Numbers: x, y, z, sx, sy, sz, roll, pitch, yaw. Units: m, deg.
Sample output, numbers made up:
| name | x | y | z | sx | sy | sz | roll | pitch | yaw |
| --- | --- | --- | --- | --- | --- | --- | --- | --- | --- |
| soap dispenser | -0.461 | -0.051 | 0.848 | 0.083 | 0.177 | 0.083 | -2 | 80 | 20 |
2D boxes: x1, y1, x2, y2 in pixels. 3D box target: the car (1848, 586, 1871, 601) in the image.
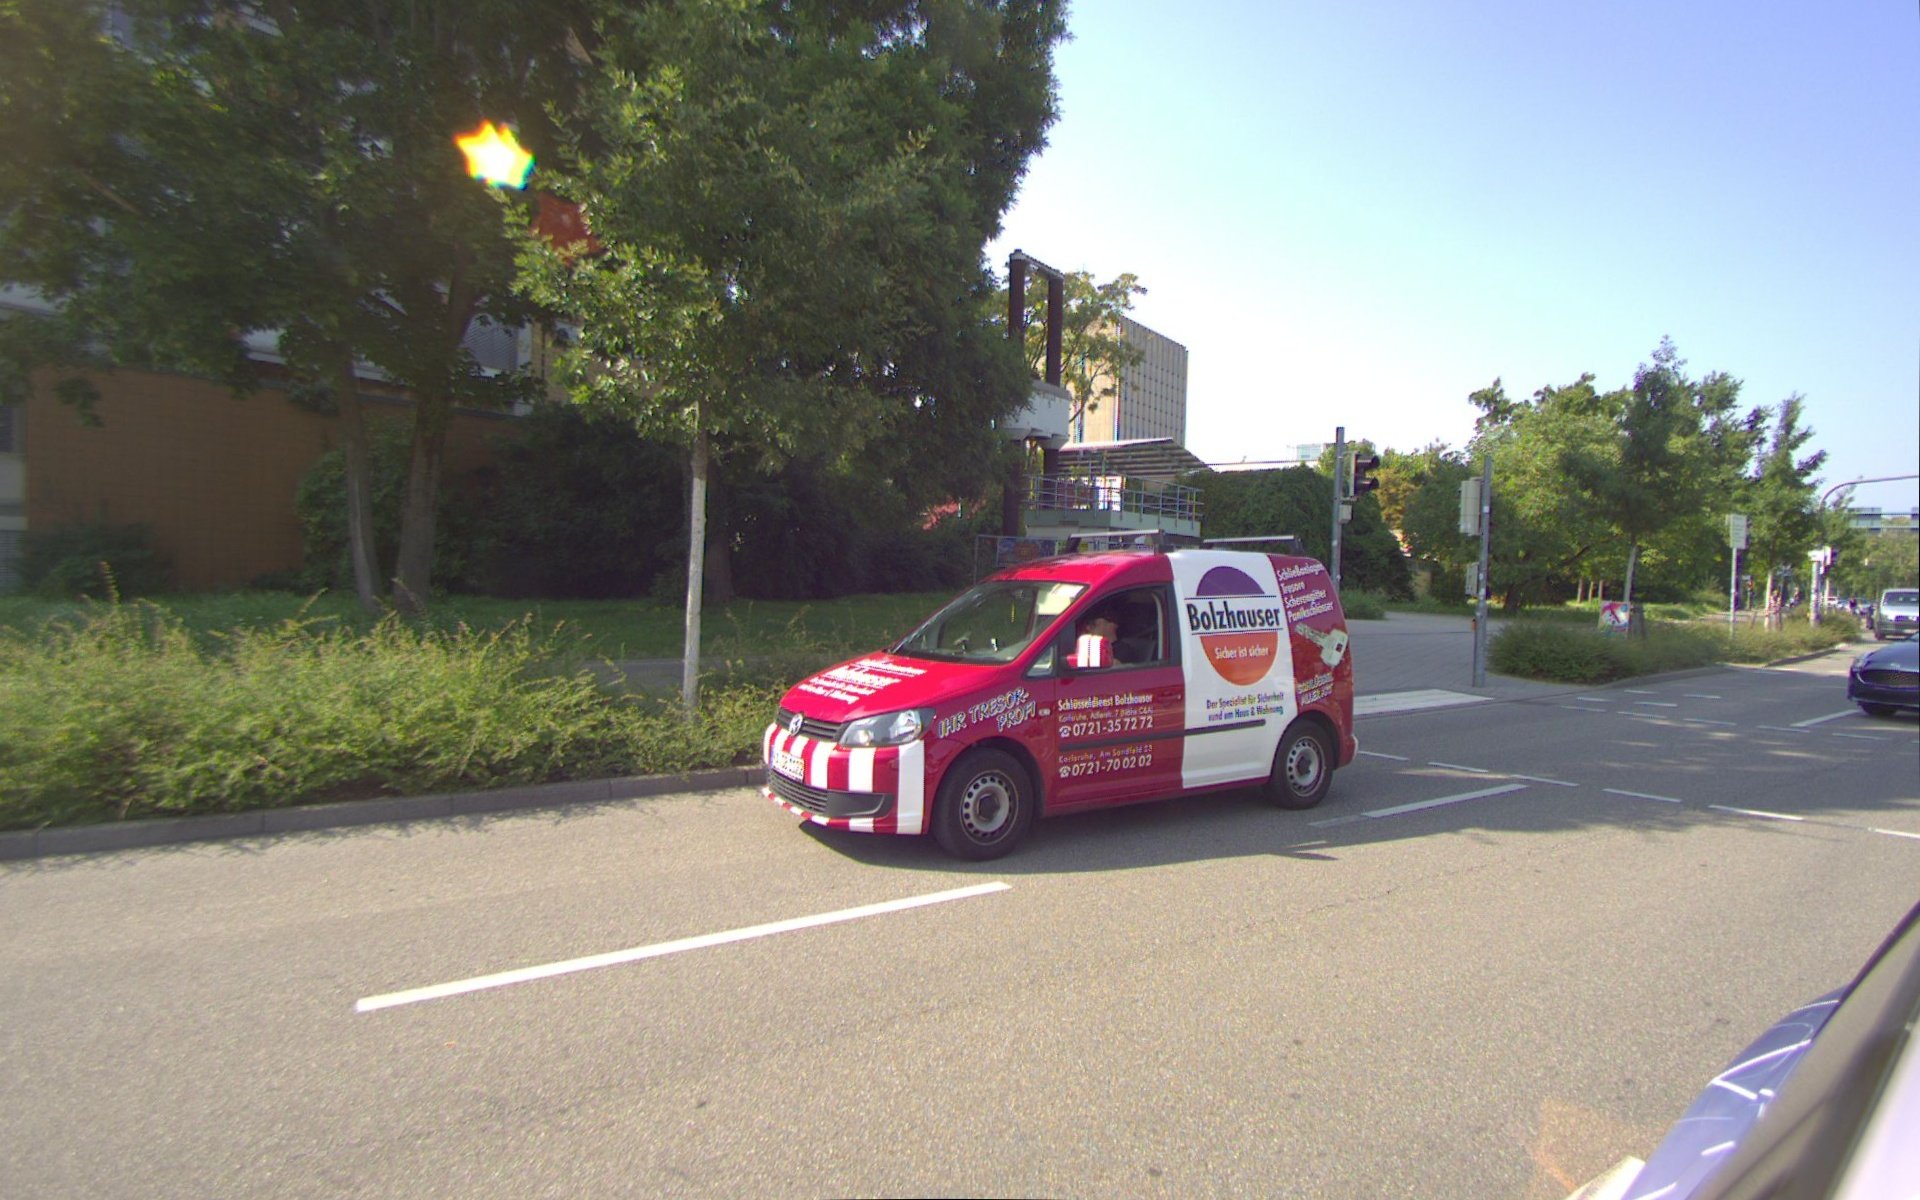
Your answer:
| name | x | y | z | sx | sy | sz | roll | pitch | yaw |
| --- | --- | --- | --- | --- | --- | --- | --- | --- | --- |
| car | 107.170 | -0.776 | 120.596 | 1.823 | 1.704 | 3.944 | 3 | 2 | 39 |

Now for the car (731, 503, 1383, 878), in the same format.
| name | x | y | z | sx | sy | sz | roll | pitch | yaw |
| --- | --- | --- | --- | --- | --- | --- | --- | --- | --- |
| car | 0.775 | 0.430 | 6.834 | 4.194 | 1.842 | 1.739 | 0 | 1 | -32 |

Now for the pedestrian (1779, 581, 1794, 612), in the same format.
| name | x | y | z | sx | sy | sz | roll | pitch | yaw |
| --- | --- | --- | --- | --- | --- | --- | --- | --- | --- |
| pedestrian | 49.914 | -0.231 | 61.110 | 0.621 | 1.868 | 0.632 | 3 | 2 | 40 |

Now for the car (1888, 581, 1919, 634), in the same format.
| name | x | y | z | sx | sy | sz | roll | pitch | yaw |
| --- | --- | --- | --- | --- | --- | --- | --- | --- | --- |
| car | 36.232 | 0.241 | 38.083 | 1.841 | 1.898 | 4.895 | 0 | 0 | 44 |

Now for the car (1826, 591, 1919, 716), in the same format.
| name | x | y | z | sx | sy | sz | roll | pitch | yaw |
| --- | --- | --- | --- | --- | --- | --- | --- | --- | --- |
| car | 13.357 | 0.672 | 12.527 | 4.232 | 1.445 | 1.644 | 1 | 1 | -10 |
